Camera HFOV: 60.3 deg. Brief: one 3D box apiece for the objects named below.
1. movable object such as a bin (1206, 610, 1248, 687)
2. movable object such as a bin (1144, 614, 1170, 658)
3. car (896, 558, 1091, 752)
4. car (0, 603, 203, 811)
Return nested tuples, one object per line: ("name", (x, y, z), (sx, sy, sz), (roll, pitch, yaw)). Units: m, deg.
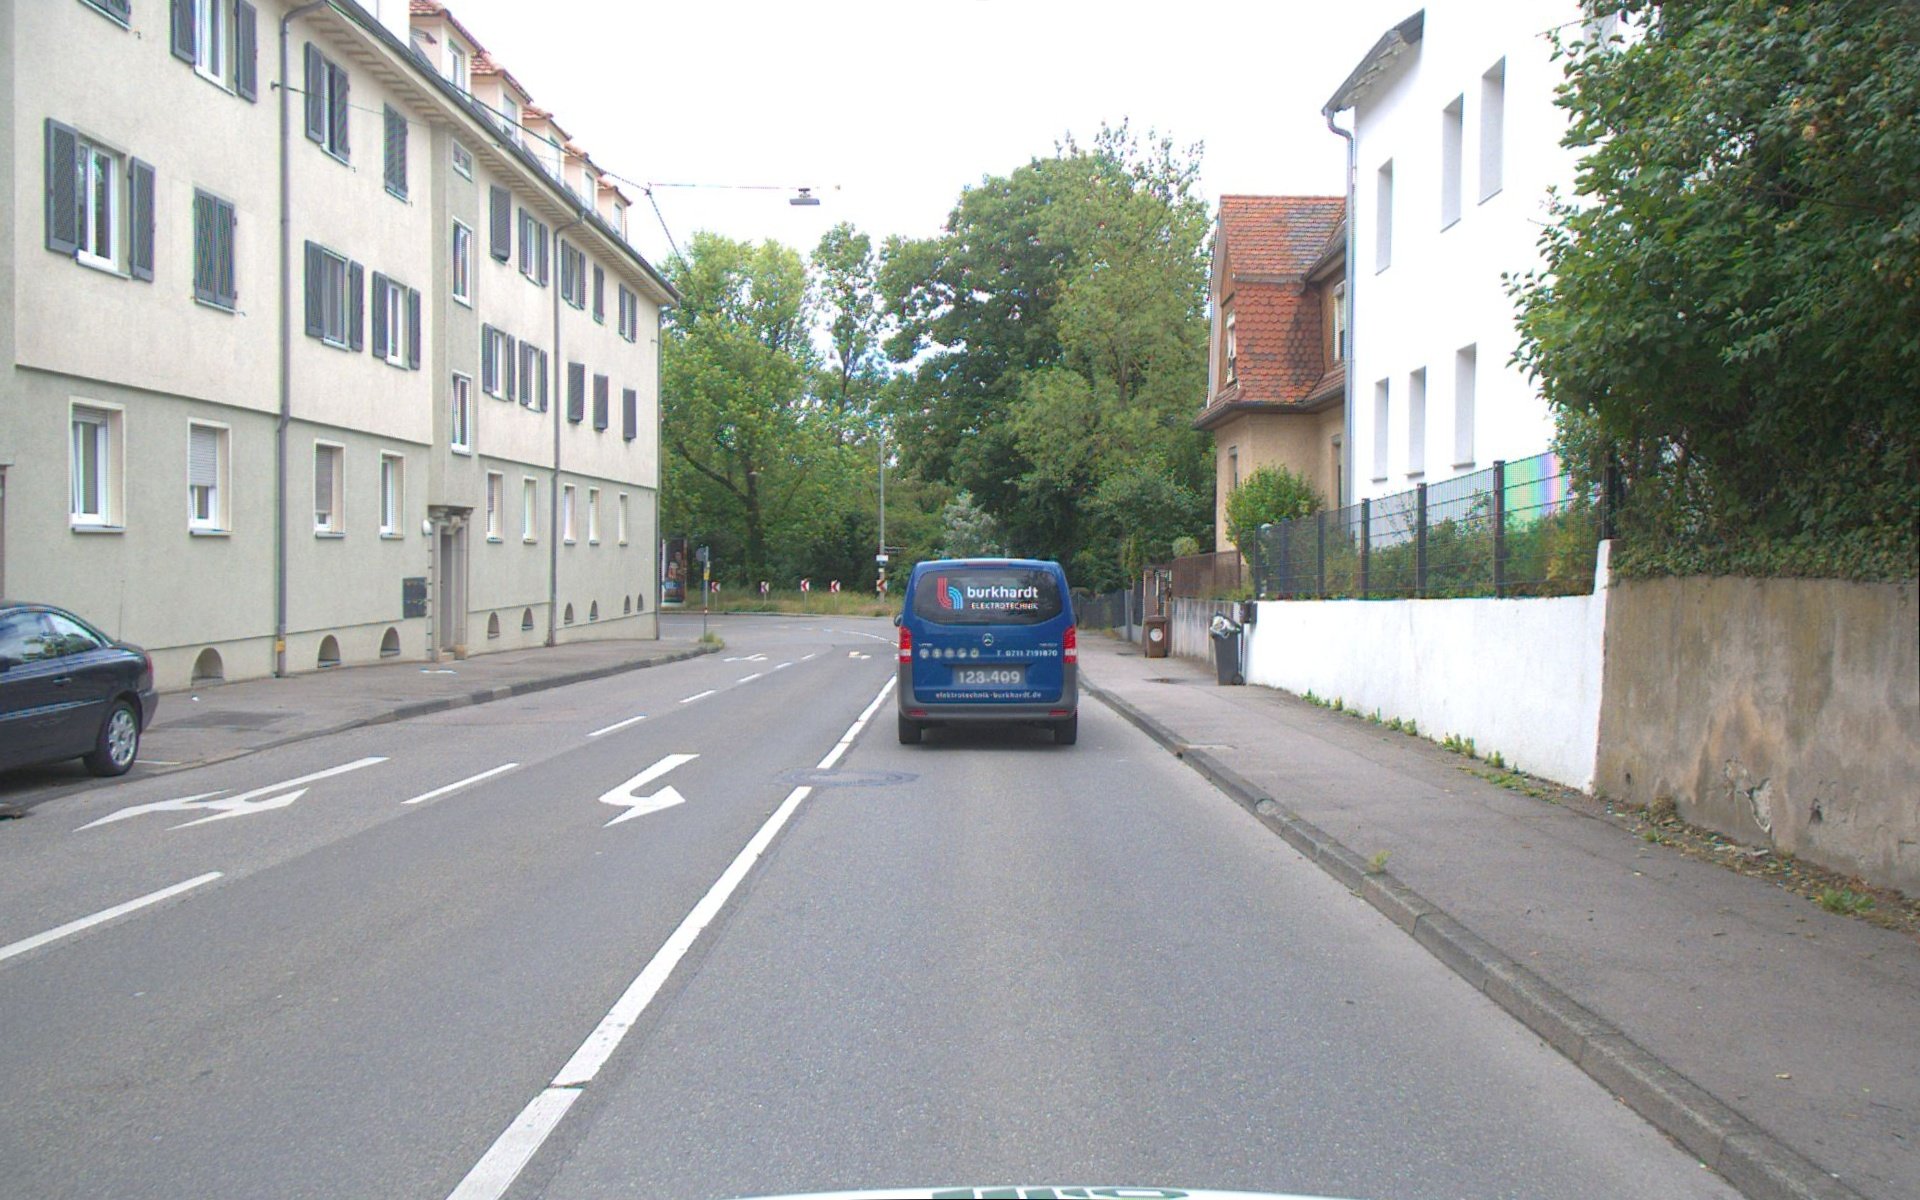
("movable object such as a bin", (4.356, 0.780, 26.979), (0.517, 1.198, 0.634), (-3, 0, -1))
("movable object such as a bin", (4.448, 0.810, 37.328), (0.452, 0.940, 0.566), (-3, 0, -1))
("car", (0.246, 0.526, 18.129), (1.875, 1.870, 4.292), (0, 0, -2))
("car", (-7.560, 0.756, 12.285), (1.675, 1.427, 4.845), (0, 0, 0))
